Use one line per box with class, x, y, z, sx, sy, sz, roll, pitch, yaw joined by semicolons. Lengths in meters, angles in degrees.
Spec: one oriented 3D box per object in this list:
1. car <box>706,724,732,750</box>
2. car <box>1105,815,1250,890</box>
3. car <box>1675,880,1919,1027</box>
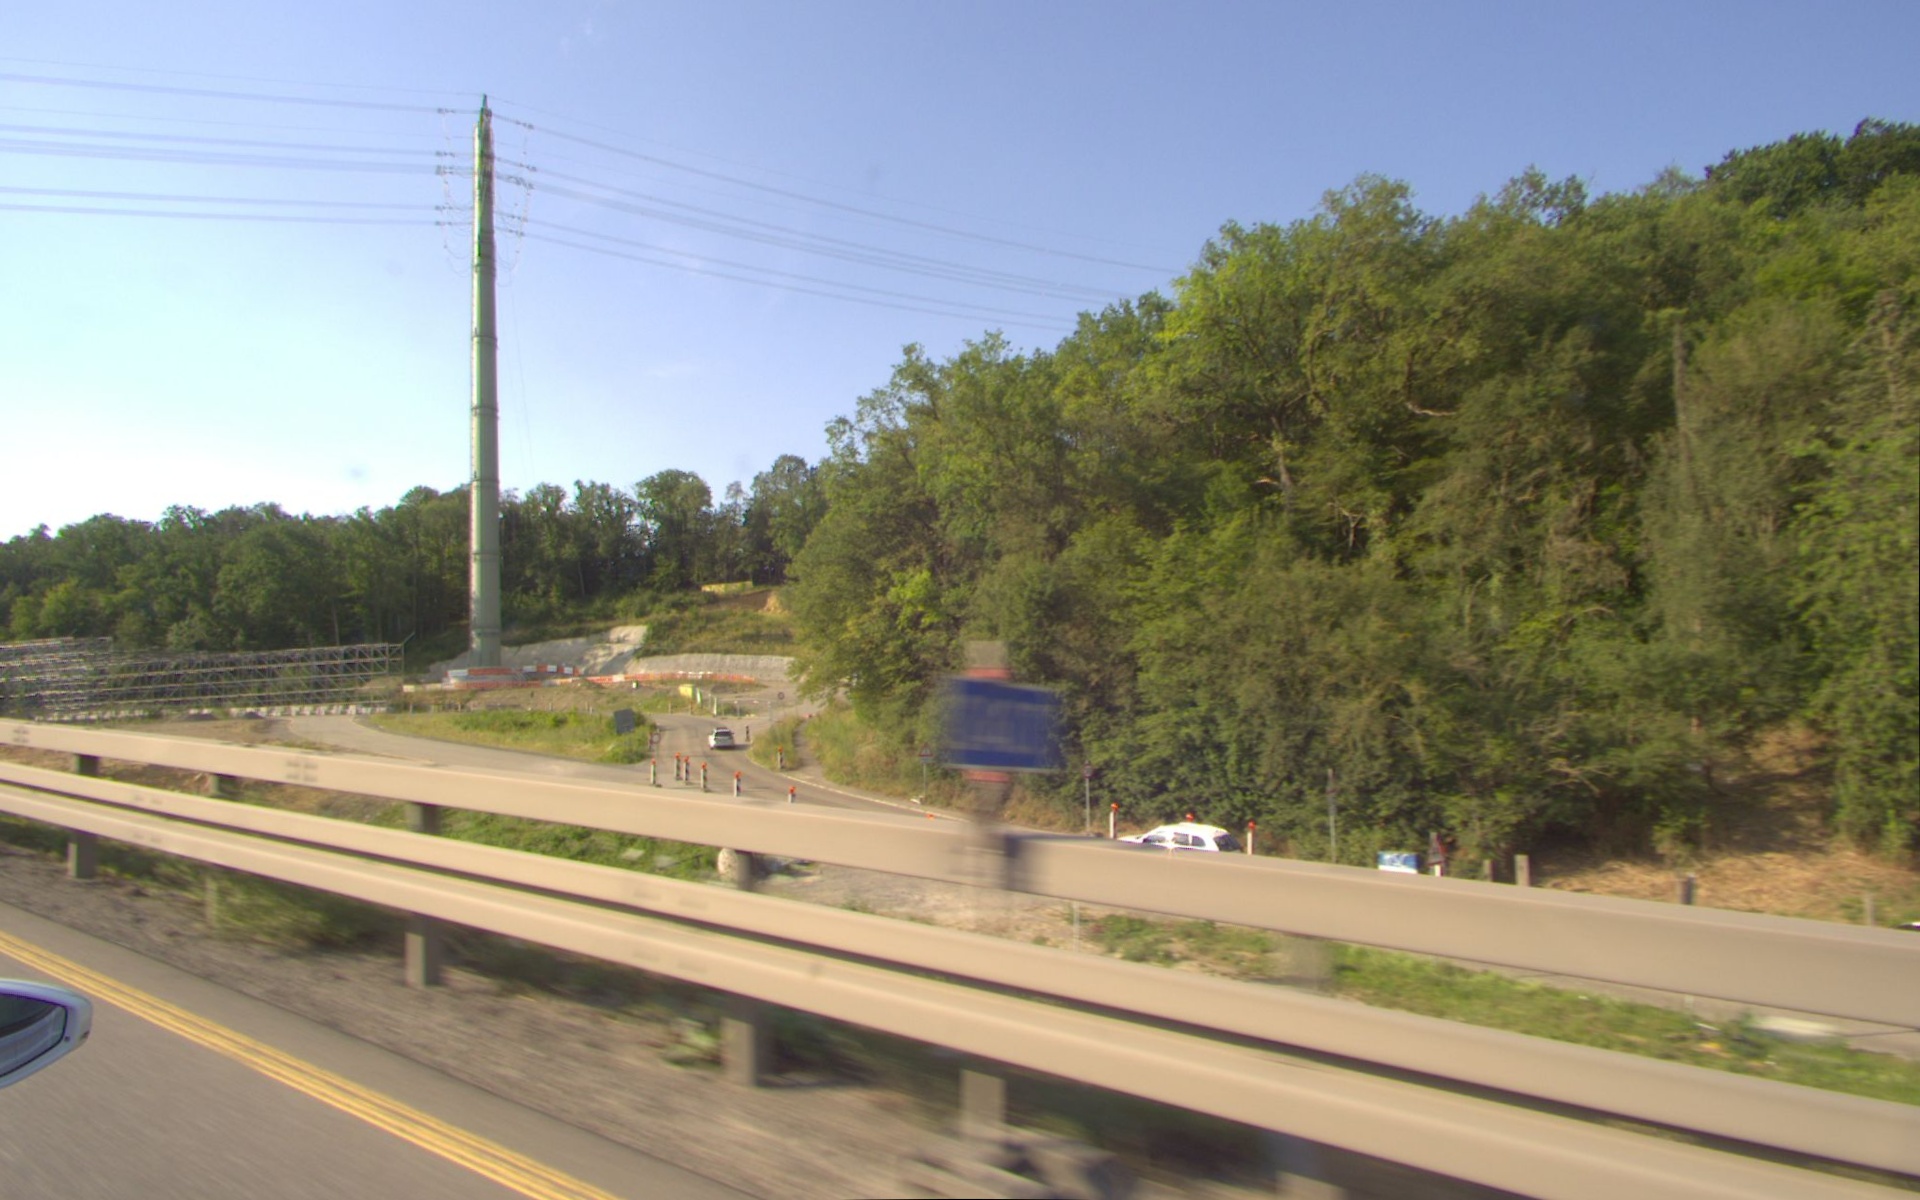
car;-17.813;10.087;73.889;1.504;1.479;4.260;-1;-2;-19
car;7.054;8.197;32.792;4.426;1.681;1.660;-4;-6;43
car;17.970;7.355;21.069;1.849;1.807;4.459;1;-2;-42
